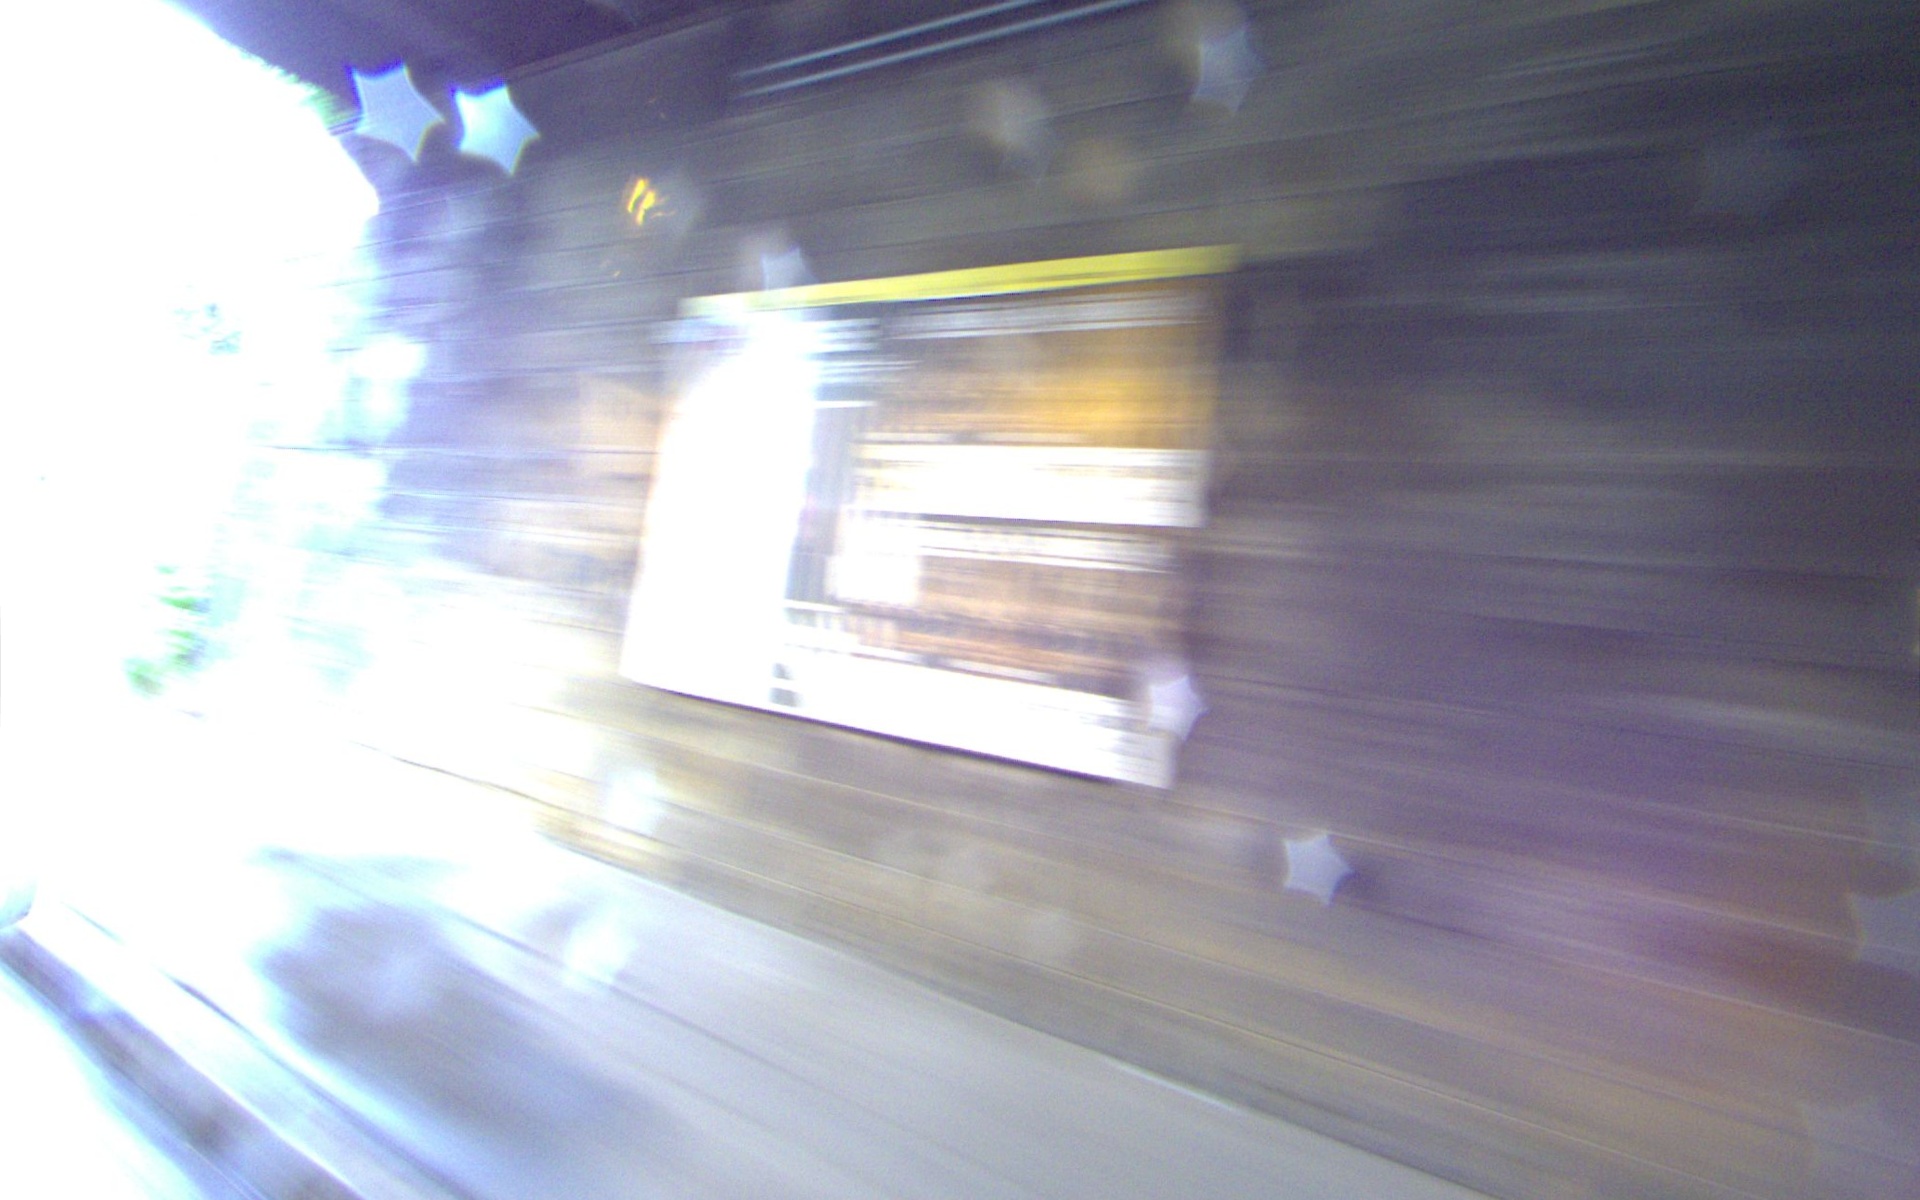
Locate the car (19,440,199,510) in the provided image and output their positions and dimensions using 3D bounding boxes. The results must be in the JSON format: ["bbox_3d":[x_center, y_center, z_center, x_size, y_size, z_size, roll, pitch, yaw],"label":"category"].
[{"bbox_3d":[-34.212,-4.992,40.607,1.909,1.840,5.157,6,-1,34],"label":"car"}]

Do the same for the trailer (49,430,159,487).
[{"bbox_3d":[-45.961,-7.609,53.961,7.004,2.456,2.391,6,-2,33],"label":"trailer"}]
